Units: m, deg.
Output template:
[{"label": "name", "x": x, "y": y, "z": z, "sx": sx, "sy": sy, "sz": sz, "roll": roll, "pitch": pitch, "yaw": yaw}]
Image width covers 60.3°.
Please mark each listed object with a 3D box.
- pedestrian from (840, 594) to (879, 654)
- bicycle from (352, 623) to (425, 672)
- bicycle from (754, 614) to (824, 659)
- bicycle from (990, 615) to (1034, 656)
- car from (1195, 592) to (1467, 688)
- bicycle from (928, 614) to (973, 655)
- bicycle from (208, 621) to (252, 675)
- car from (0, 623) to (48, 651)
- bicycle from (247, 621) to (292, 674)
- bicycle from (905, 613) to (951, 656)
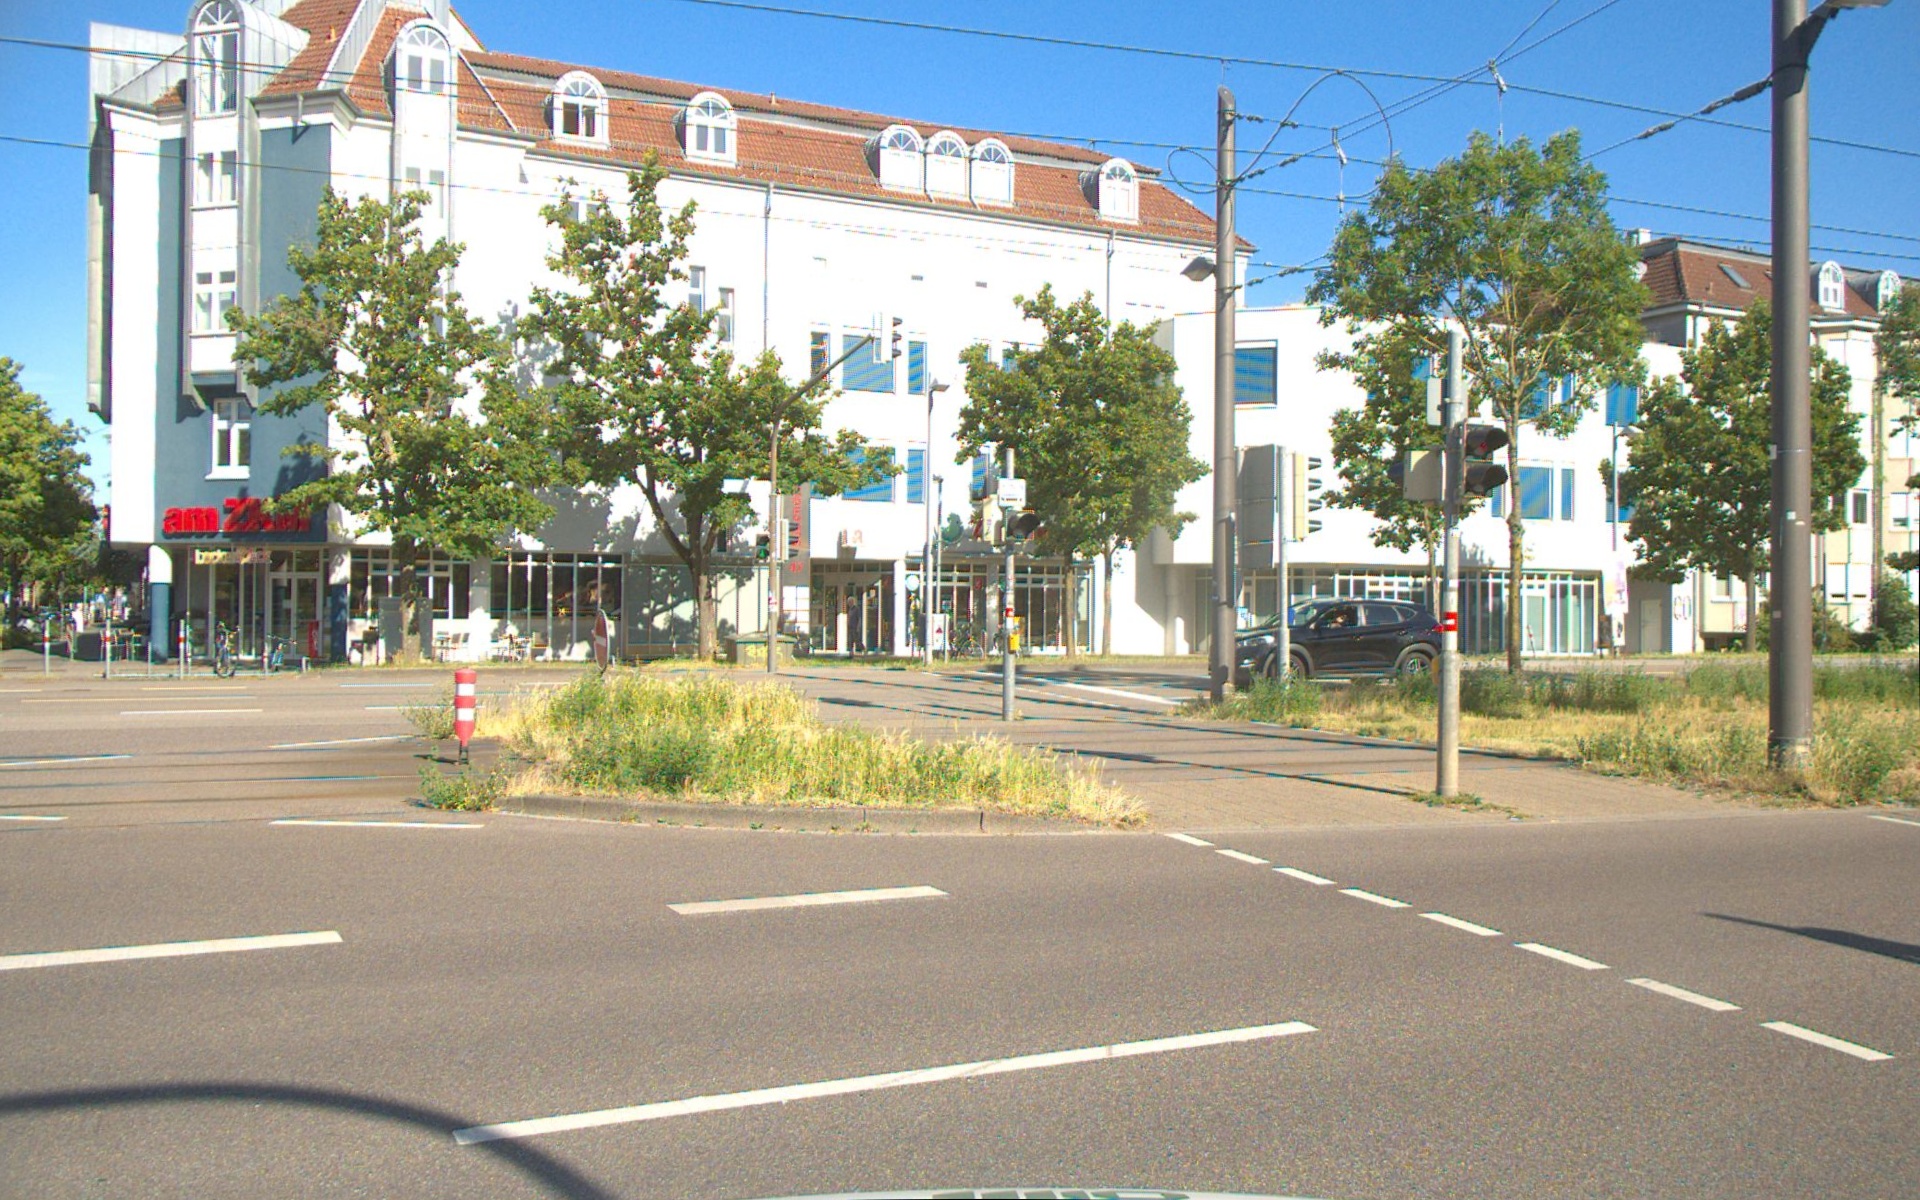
[{"label": "pedestrian", "x": -2.964, "y": 0.713, "z": 48.734, "sx": 0.978, "sy": 1.753, "sz": 0.648, "roll": 0, "pitch": -1, "yaw": -28}, {"label": "bicycle", "x": -12.549, "y": 1.031, "z": 36.331, "sx": 1.487, "sy": 1.045, "sz": 0.471, "roll": 0, "pitch": -1, "yaw": -17}, {"label": "bicycle", "x": -4.658, "y": 0.981, "z": 45.094, "sx": 1.845, "sy": 1.203, "sz": 0.556, "roll": 0, "pitch": -1, "yaw": -32}, {"label": "bicycle", "x": 1.535, "y": 1.055, "z": 49.494, "sx": 0.553, "sy": 1.203, "sz": 1.855, "roll": 0, "pitch": -1, "yaw": -25}, {"label": "car", "x": 6.674, "y": 0.700, "z": 29.828, "sx": 4.431, "sy": 1.638, "sz": 1.990, "roll": 0, "pitch": -1, "yaw": -18}, {"label": "bicycle", "x": -0.292, "y": 1.016, "z": 49.012, "sx": 0.554, "sy": 1.203, "sz": 1.852, "roll": 0, "pitch": -1, "yaw": -28}, {"label": "bicycle", "x": -14.490, "y": 0.945, "z": 32.804, "sx": 0.468, "sy": 1.045, "sz": 1.496, "roll": 0, "pitch": -1, "yaw": -37}, {"label": "car", "x": -44.378, "y": 1.711, "z": 76.766, "sx": 3.526, "sy": 1.245, "sz": 1.715, "roll": 1, "pitch": -2, "yaw": -28}, {"label": "bicycle", "x": -14.040, "y": 0.944, "z": 33.617, "sx": 0.468, "sy": 1.045, "sz": 1.495, "roll": 0, "pitch": -1, "yaw": -38}, {"label": "bicycle", "x": -0.945, "y": 0.996, "z": 48.328, "sx": 0.554, "sy": 1.203, "sz": 1.852, "roll": 0, "pitch": -1, "yaw": -28}]
